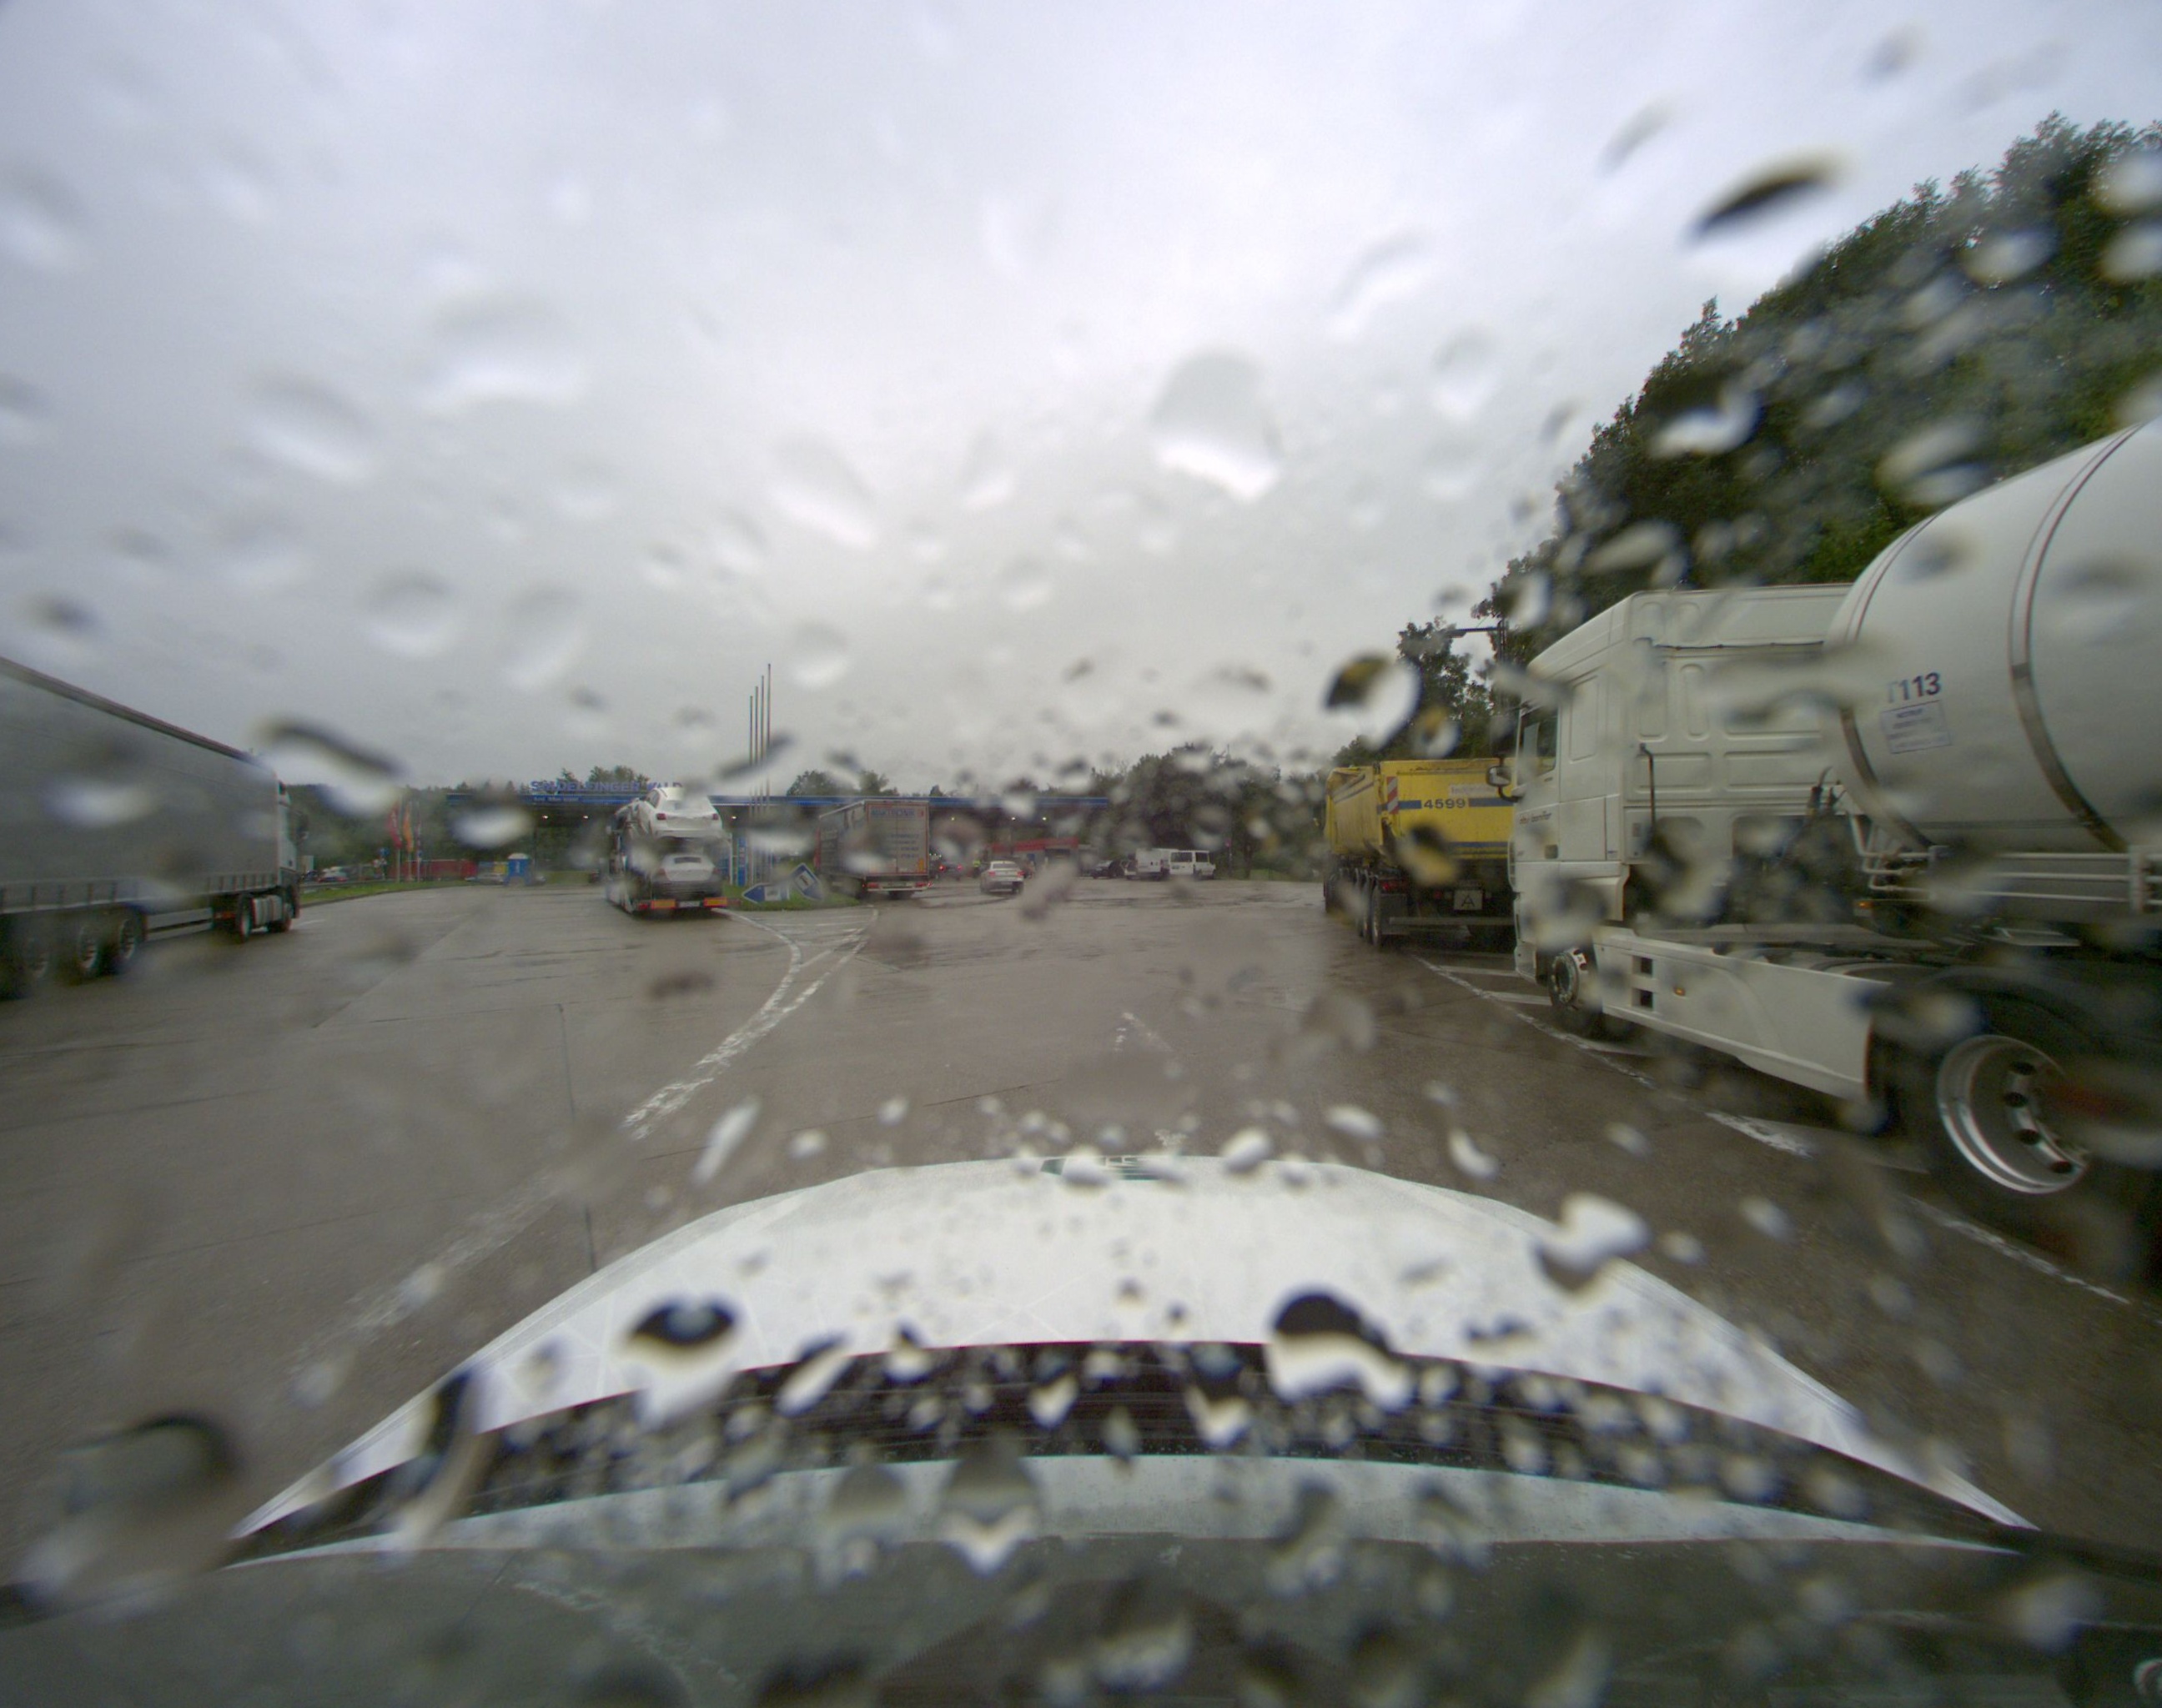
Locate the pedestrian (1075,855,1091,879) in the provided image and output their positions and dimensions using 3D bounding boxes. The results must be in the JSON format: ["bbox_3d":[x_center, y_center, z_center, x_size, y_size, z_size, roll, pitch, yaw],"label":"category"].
[{"bbox_3d":[0.194,1.028,64.515,0.946,1.920,1.094,-1,-1,19],"label":"pedestrian"}]

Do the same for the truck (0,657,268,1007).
[{"bbox_3d":[-15.479,-0.189,12.141,2.388,3.874,12.323,-1,0,-34],"label":"truck"}]

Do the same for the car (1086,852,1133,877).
[{"bbox_3d":[2.281,0.807,63.630,2.093,1.937,4.217,-1,0,27],"label":"car"}]

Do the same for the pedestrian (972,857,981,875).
[{"bbox_3d":[-9.044,1.040,70.525,0.716,1.522,0.742,1,-4,0],"label":"pedestrian"}]

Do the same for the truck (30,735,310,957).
[{"bbox_3d":[-19.292,-0.124,17.790,2.388,3.874,6.937,-1,0,-34],"label":"truck"}]

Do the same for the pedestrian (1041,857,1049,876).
[{"bbox_3d":[-3.078,1.046,68.953,0.608,1.539,0.593,0,-2,-8],"label":"pedestrian"}]

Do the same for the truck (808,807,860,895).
[{"bbox_3d":[-13.596,-0.130,44.620,1.998,4.550,4.754,0,-1,-26],"label":"truck"}]

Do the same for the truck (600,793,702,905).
[{"bbox_3d":[-18.522,-0.140,34.747,3.255,4.189,8.359,1,-1,-32],"label":"truck"}]

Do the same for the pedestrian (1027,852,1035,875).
[{"bbox_3d":[-4.416,0.854,71.903,0.667,2.014,0.742,1,-4,0],"label":"pedestrian"}]

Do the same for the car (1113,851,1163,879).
[{"bbox_3d":[4.189,0.766,59.484,2.093,1.937,4.217,-1,0,27],"label":"car"}]

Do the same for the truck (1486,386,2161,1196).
[{"bbox_3d":[4.933,-0.268,5.846,2.135,3.513,4.654,-1,-1,6],"label":"truck"}]

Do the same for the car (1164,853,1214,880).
[{"bbox_3d":[7.250,0.805,54.316,2.093,1.728,4.024,-1,0,27],"label":"car"}]

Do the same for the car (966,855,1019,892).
[{"bbox_3d":[-4.253,0.919,38.651,1.996,1.679,3.981,0,-1,-13],"label":"car"}]

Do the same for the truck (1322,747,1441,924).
[{"bbox_3d":[7.176,-0.376,19.893,2.166,3.828,4.156,-1,0,13],"label":"truck"}]

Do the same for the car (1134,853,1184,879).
[{"bbox_3d":[5.420,0.829,56.369,2.093,1.728,4.024,-1,0,27],"label":"car"}]

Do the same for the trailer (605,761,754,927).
[{"bbox_3d":[-13.337,-0.216,26.296,3.237,4.189,11.413,1,-1,-32],"label":"trailer"}]

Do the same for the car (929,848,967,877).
[{"bbox_3d":[-10.339,0.728,63.136,2.002,2.014,3.968,3,-4,-23],"label":"car"}]

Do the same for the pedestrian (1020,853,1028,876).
[{"bbox_3d":[-5.113,0.915,73.060,0.586,2.014,0.635,2,-4,-9],"label":"pedestrian"}]

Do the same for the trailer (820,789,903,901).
[{"bbox_3d":[-10.454,-0.282,38.091,2.004,4.559,9.725,0,-1,-26],"label":"trailer"}]

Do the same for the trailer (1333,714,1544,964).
[{"bbox_3d":[6.054,-0.188,14.973,2.167,3.392,7.591,-1,0,13],"label":"trailer"}]
